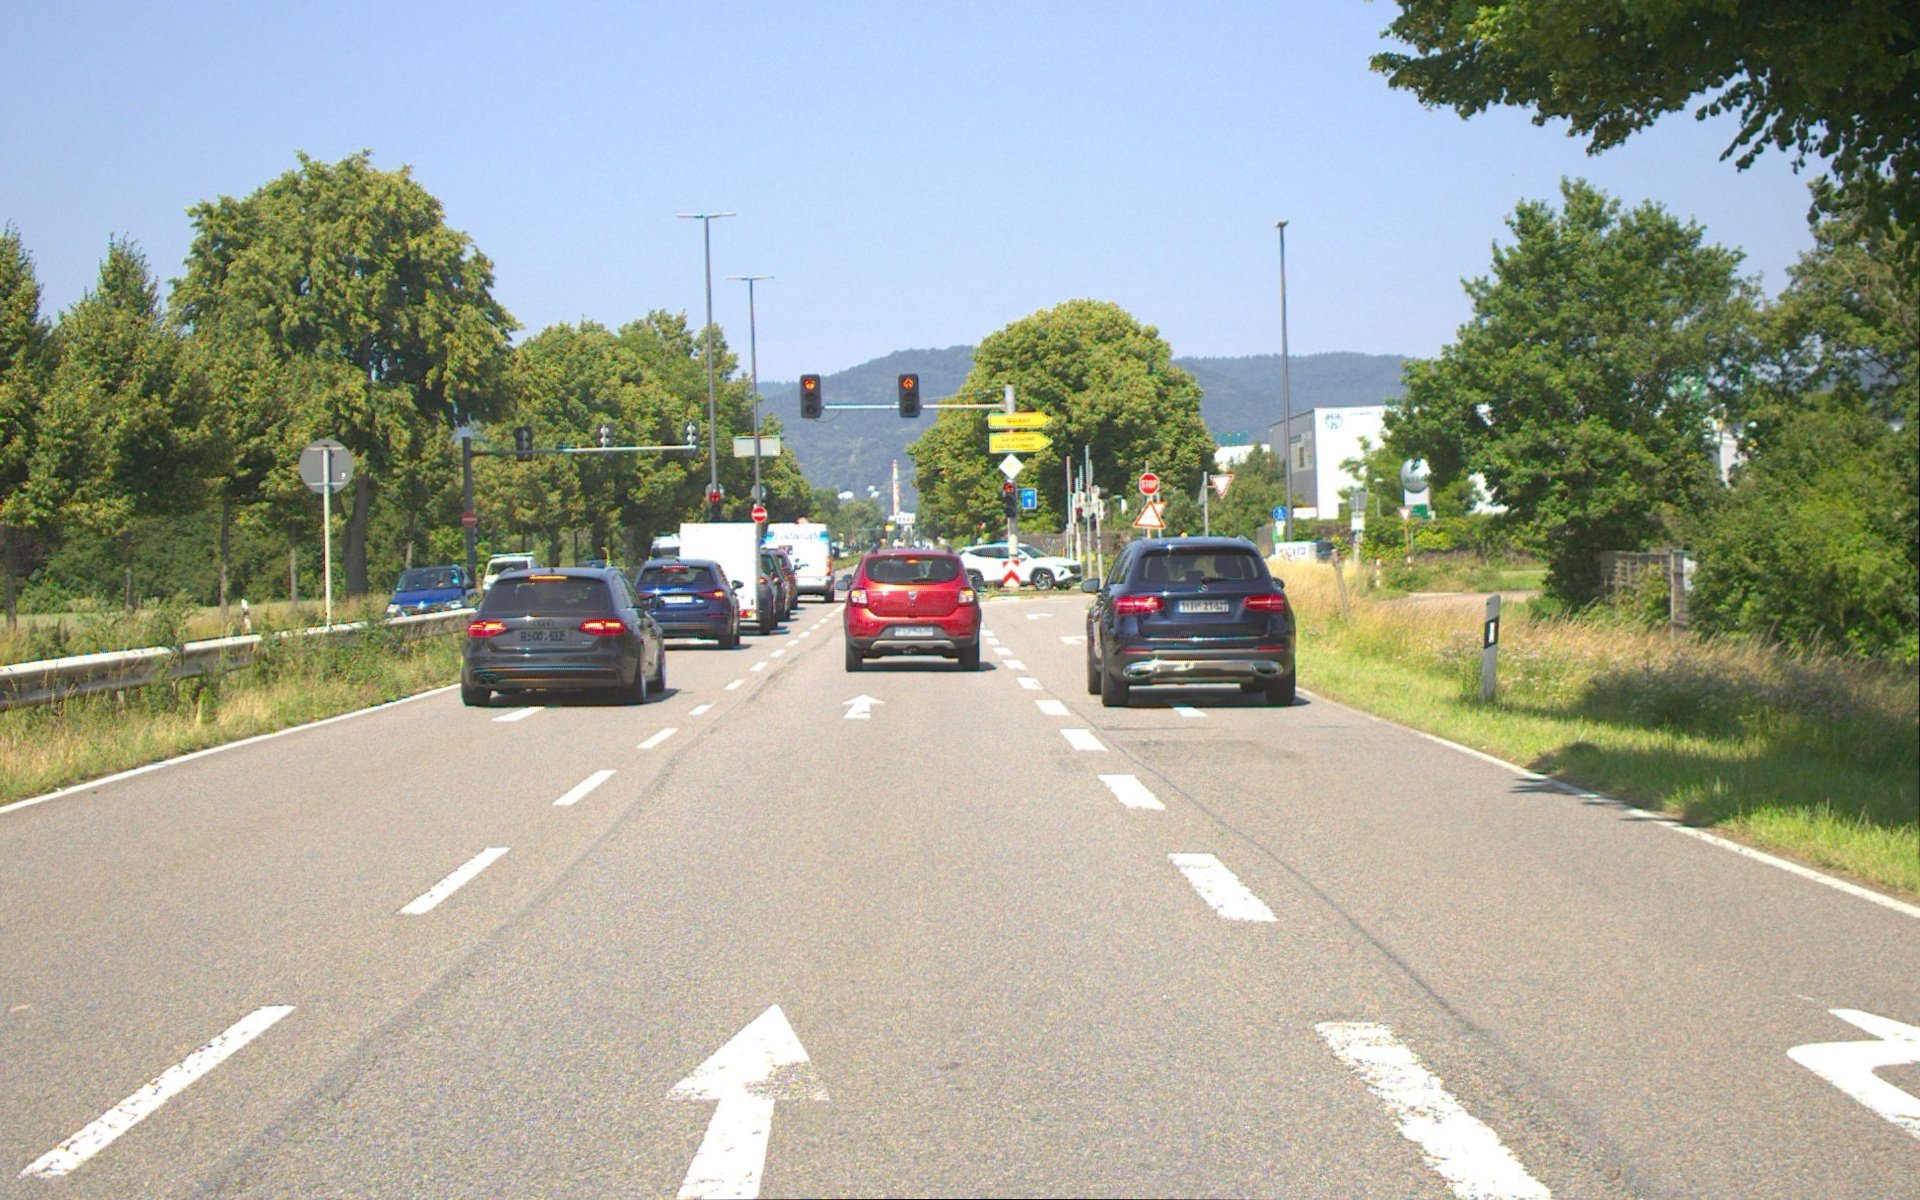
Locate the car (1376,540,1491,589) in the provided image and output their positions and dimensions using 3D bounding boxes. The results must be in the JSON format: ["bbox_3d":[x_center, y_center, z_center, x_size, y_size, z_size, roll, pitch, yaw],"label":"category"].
[{"bbox_3d":[16.377,-1.228,118.870,3.820,1.575,2.073,-2,1,11],"label":"car"}]

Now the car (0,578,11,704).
[{"bbox_3d":[-13.690,0.586,43.842,1.993,1.657,4.481,-1,1,-1],"label":"car"}]

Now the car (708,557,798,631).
[{"bbox_3d":[-4.536,-0.152,75.764,1.723,1.570,3.892,0,1,0],"label":"car"}]

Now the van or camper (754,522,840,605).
[{"bbox_3d":[-4.719,-1.075,100.261,2.179,2.295,4.827,-2,1,0],"label":"van or camper"}]

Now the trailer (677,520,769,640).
[{"bbox_3d":[-4.428,-0.387,64.555,1.500,2.166,4.174,0,1,-1],"label":"trailer"}]

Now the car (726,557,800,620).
[{"bbox_3d":[-5.119,-0.318,89.615,1.724,1.594,3.955,0,1,0],"label":"car"}]

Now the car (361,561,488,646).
[{"bbox_3d":[-11.105,0.049,71.589,1.993,1.657,4.481,-2,1,-1],"label":"car"}]

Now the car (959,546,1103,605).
[{"bbox_3d":[2.417,-0.838,116.852,4.495,1.861,1.883,-1,1,22],"label":"car"}]

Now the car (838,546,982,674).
[{"bbox_3d":[-0.606,0.102,44.434,1.749,1.570,3.676,0,1,1],"label":"car"}]

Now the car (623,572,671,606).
[{"bbox_3d":[-14.380,-0.527,158.097,1.879,1.449,4.505,-2,1,-1],"label":"car"}]

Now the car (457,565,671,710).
[{"bbox_3d":[-4.069,0.348,35.917,1.740,1.376,4.455,-1,1,-1],"label":"car"}]

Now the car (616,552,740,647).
[{"bbox_3d":[-4.468,-0.037,54.924,1.717,1.460,4.030,0,1,-1],"label":"car"}]

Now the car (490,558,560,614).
[{"bbox_3d":[-15.800,-0.523,125.004,1.993,1.945,4.830,-2,1,-1],"label":"car"}]

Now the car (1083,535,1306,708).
[{"bbox_3d":[2.282,0.171,34.455,1.993,1.611,4.339,0,1,1],"label":"car"}]
